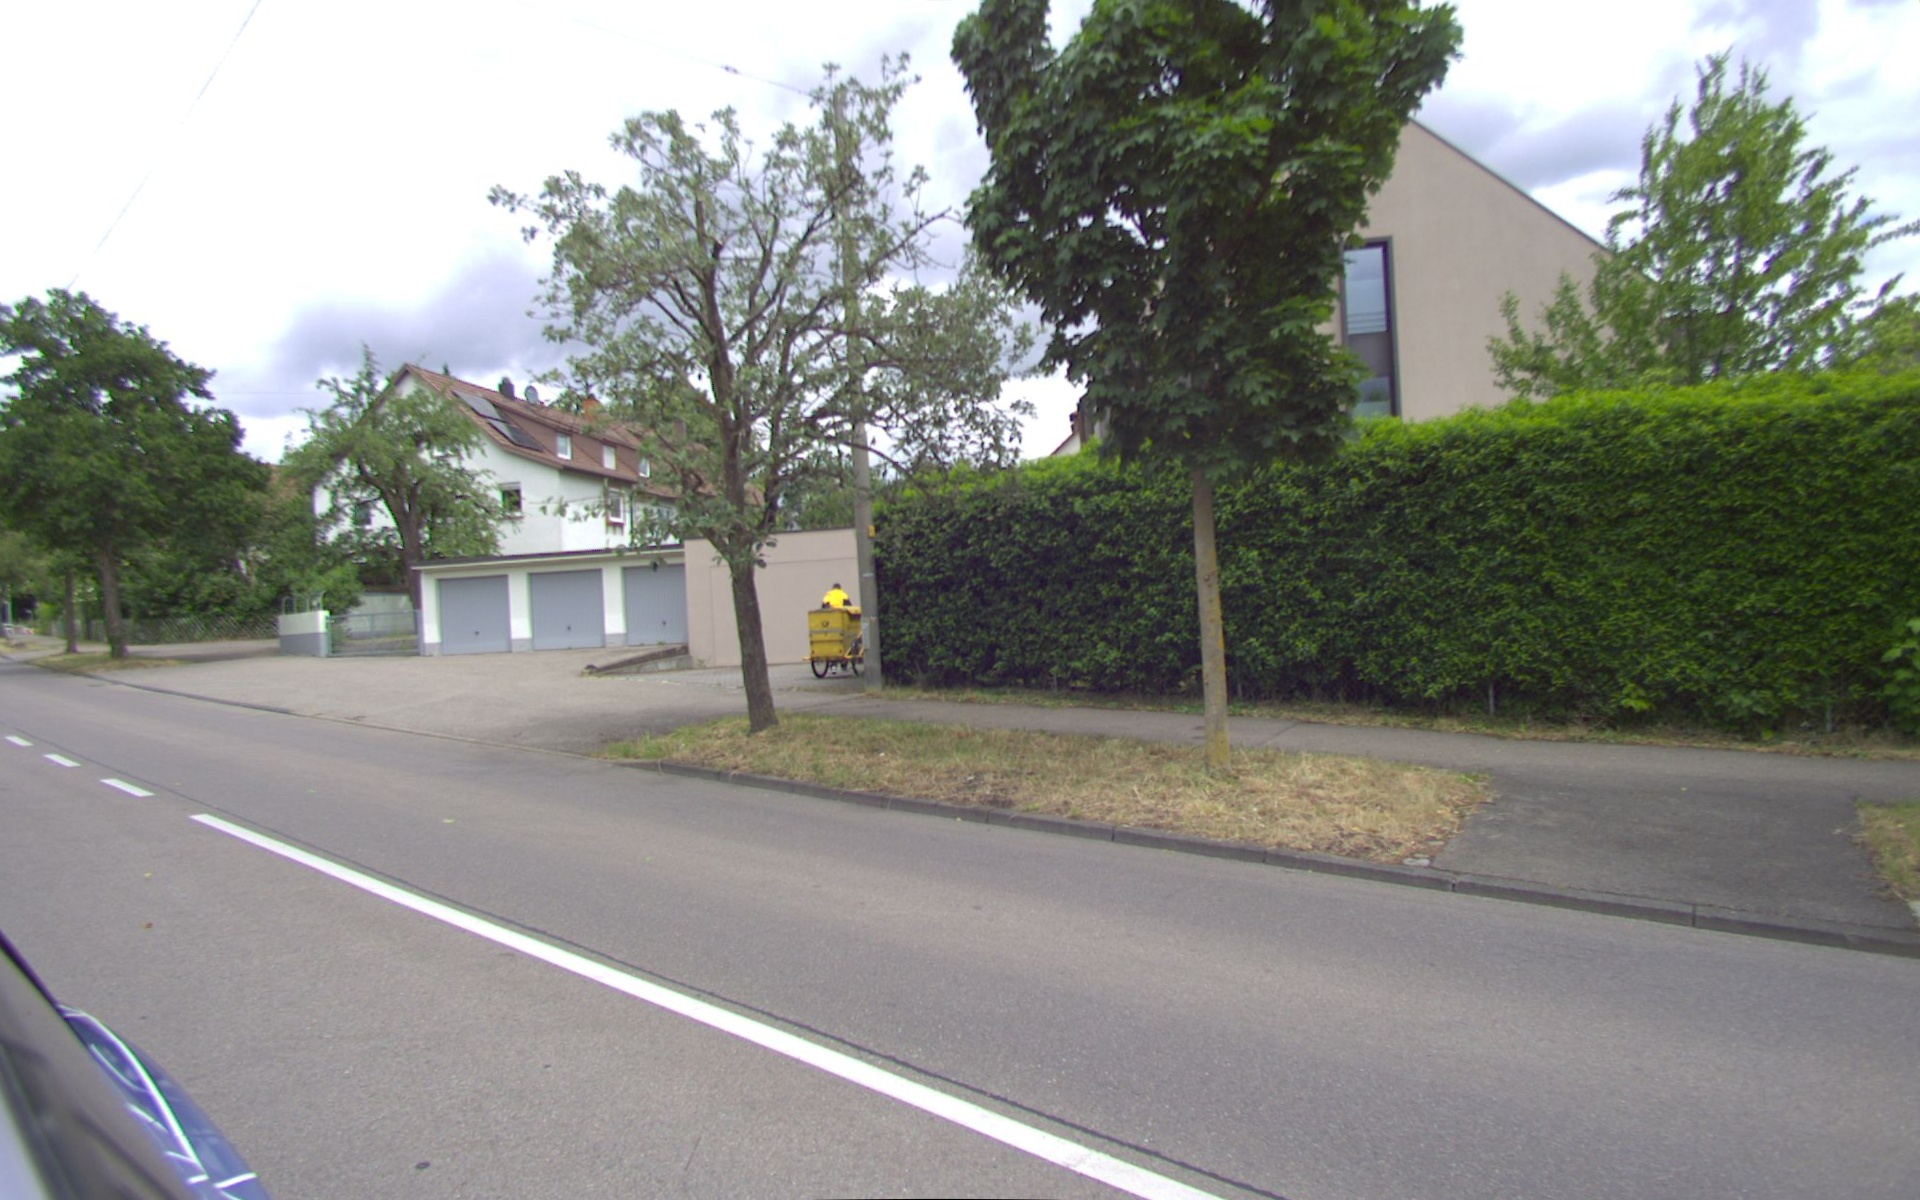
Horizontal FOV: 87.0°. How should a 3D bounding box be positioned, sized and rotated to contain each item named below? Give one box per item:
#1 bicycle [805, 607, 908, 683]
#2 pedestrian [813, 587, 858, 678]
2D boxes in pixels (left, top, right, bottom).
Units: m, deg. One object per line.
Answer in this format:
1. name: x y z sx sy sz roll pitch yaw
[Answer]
1. bicycle: -1.822 0.780 18.394 0.841 1.214 2.606 -3 -1 18
2. pedestrian: -2.352 0.602 19.195 0.597 1.688 0.638 -2 0 19
